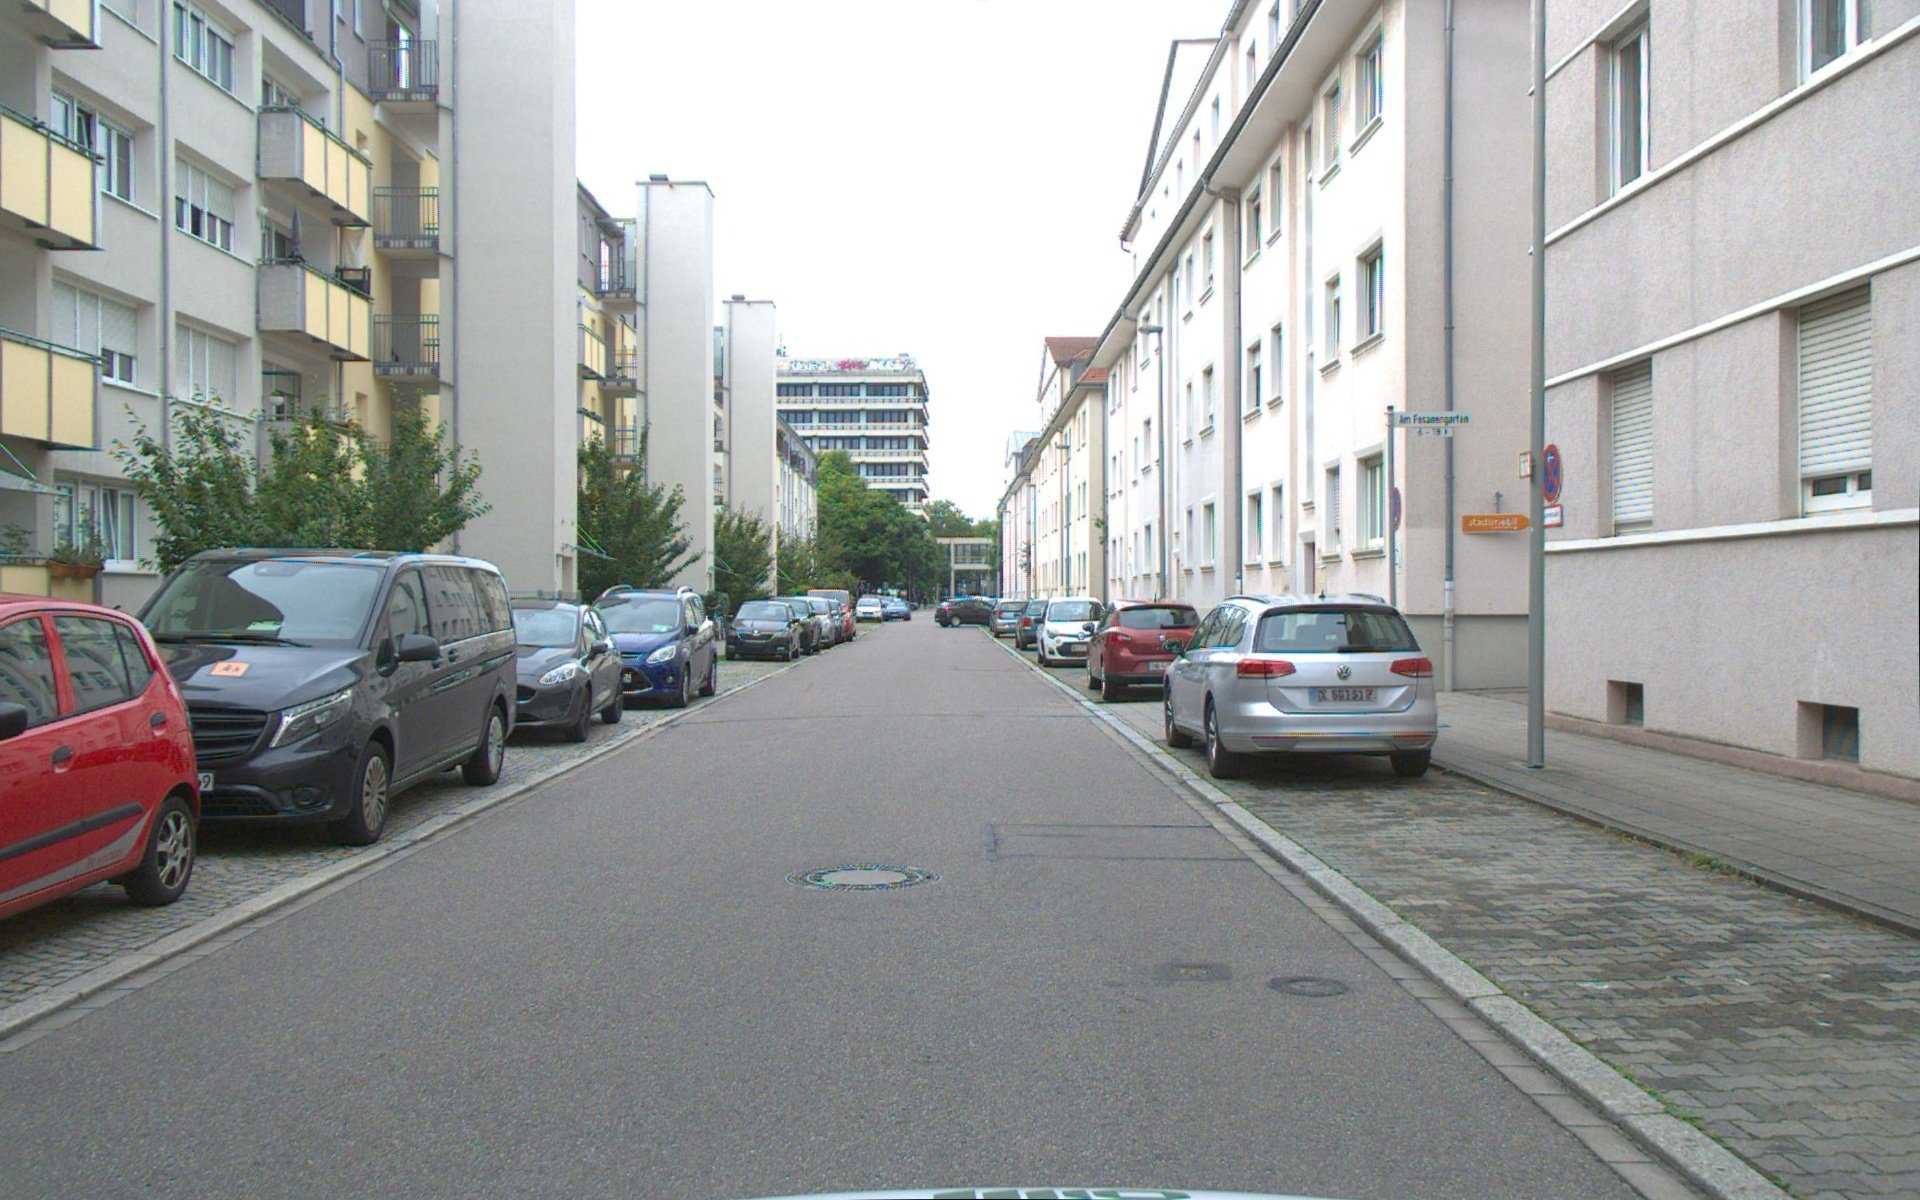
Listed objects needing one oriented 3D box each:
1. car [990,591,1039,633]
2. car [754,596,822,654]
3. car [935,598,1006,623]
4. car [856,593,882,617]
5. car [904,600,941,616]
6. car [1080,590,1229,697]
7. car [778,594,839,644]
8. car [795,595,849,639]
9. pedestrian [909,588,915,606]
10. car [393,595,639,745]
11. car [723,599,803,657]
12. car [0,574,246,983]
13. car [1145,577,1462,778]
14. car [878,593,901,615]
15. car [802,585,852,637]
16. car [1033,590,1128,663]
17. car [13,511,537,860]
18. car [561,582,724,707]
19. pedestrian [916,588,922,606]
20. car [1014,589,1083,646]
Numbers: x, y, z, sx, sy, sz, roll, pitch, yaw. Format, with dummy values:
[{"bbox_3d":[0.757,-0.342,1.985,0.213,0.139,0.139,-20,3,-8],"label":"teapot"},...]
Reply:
[{"bbox_3d":[2.135,0.456,65.674,1.782,1.604,3.883,1,0,-1],"label":"car"},{"bbox_3d":[-4.967,0.692,48.170,1.637,1.591,3.663,1,0,-1],"label":"car"},{"bbox_3d":[0.552,0.530,85.710,3.652,1.235,1.544,1,0,0],"label":"car"},{"bbox_3d":[-5.768,0.308,105.309,1.507,1.476,3.741,1,0,-1],"label":"car"},{"bbox_3d":[-4.071,0.855,178.212,3.906,1.512,2.000,3,0,-1],"label":"car"},{"bbox_3d":[2.855,0.589,25.036,1.636,1.445,3.999,-2,0,-2],"label":"car"},{"bbox_3d":[-4.918,0.598,54.186,1.637,1.552,4.252,1,0,-1],"label":"car"},{"bbox_3d":[-4.916,0.584,59.339,1.637,1.513,3.741,1,0,-1],"label":"car"},{"bbox_3d":[-5.405,-0.342,187.332,0.617,2.049,0.683,2,0,-2],"label":"pedestrian"},{"bbox_3d":[-4.893,0.704,18.833,1.793,1.484,4.258,1,0,-2],"label":"car"},{"bbox_3d":[-5.008,0.693,42.420,1.637,1.375,3.816,1,0,-1],"label":"car"},{"bbox_3d":[-4.596,0.699,7.059,1.532,1.596,3.641,3,0,-2],"label":"car"},{"bbox_3d":[2.843,0.569,14.750,1.720,1.493,4.599,1,0,-2],"label":"car"},{"bbox_3d":[-4.936,0.271,115.940,1.508,1.476,3.739,1,0,-3],"label":"car"},{"bbox_3d":[-5.158,0.407,64.438,1.637,1.972,3.741,1,0,-1],"label":"car"},{"bbox_3d":[2.636,0.550,36.938,1.782,1.531,3.752,1,0,-1],"label":"car"},{"bbox_3d":[-4.585,0.479,12.048,1.841,1.937,5.028,2,0,-3],"label":"car"},{"bbox_3d":[-4.612,0.587,24.581,1.734,1.672,4.353,1,0,-2],"label":"car"},{"bbox_3d":[-4.660,-0.342,188.866,0.617,2.049,0.683,2,0,-2],"label":"pedestrian"},{"bbox_3d":[2.583,0.478,49.043,1.782,1.604,3.752,1,0,-1],"label":"car"}]
